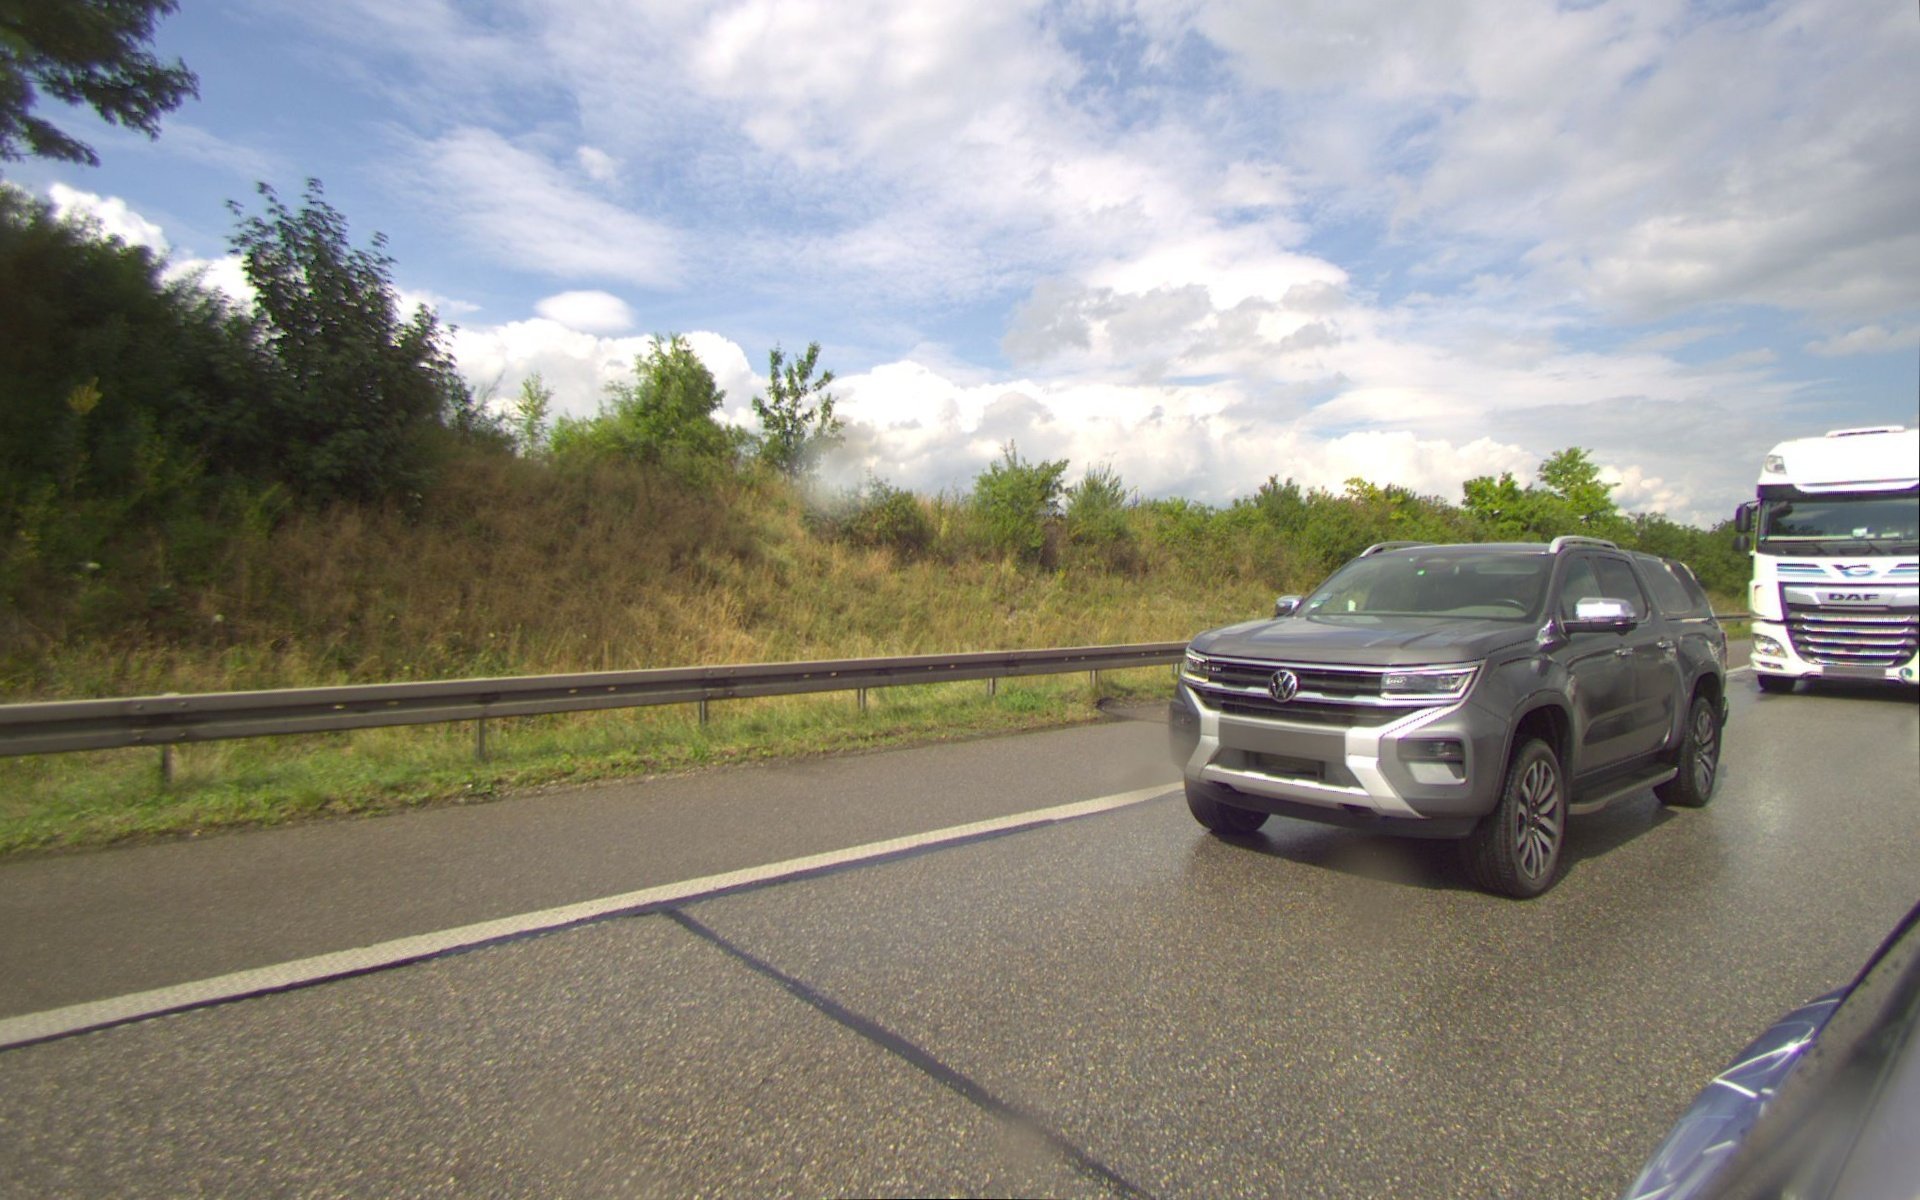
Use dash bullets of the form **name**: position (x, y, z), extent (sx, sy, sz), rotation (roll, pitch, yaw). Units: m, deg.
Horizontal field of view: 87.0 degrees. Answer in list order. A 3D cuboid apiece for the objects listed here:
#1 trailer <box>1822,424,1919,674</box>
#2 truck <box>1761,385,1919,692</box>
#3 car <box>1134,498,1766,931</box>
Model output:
- **trailer**: position (20.533, -0.923, 20.838), extent (12.002, 4.171, 2.449), rotation (-1, 1, -41)
- **truck**: position (14.629, -0.841, 15.749), extent (5.239, 4.155, 2.458), rotation (0, 0, -41)
- **car**: position (3.538, 0.447, 6.665), extent (5.212, 1.826, 1.830), rotation (0, 1, -41)
